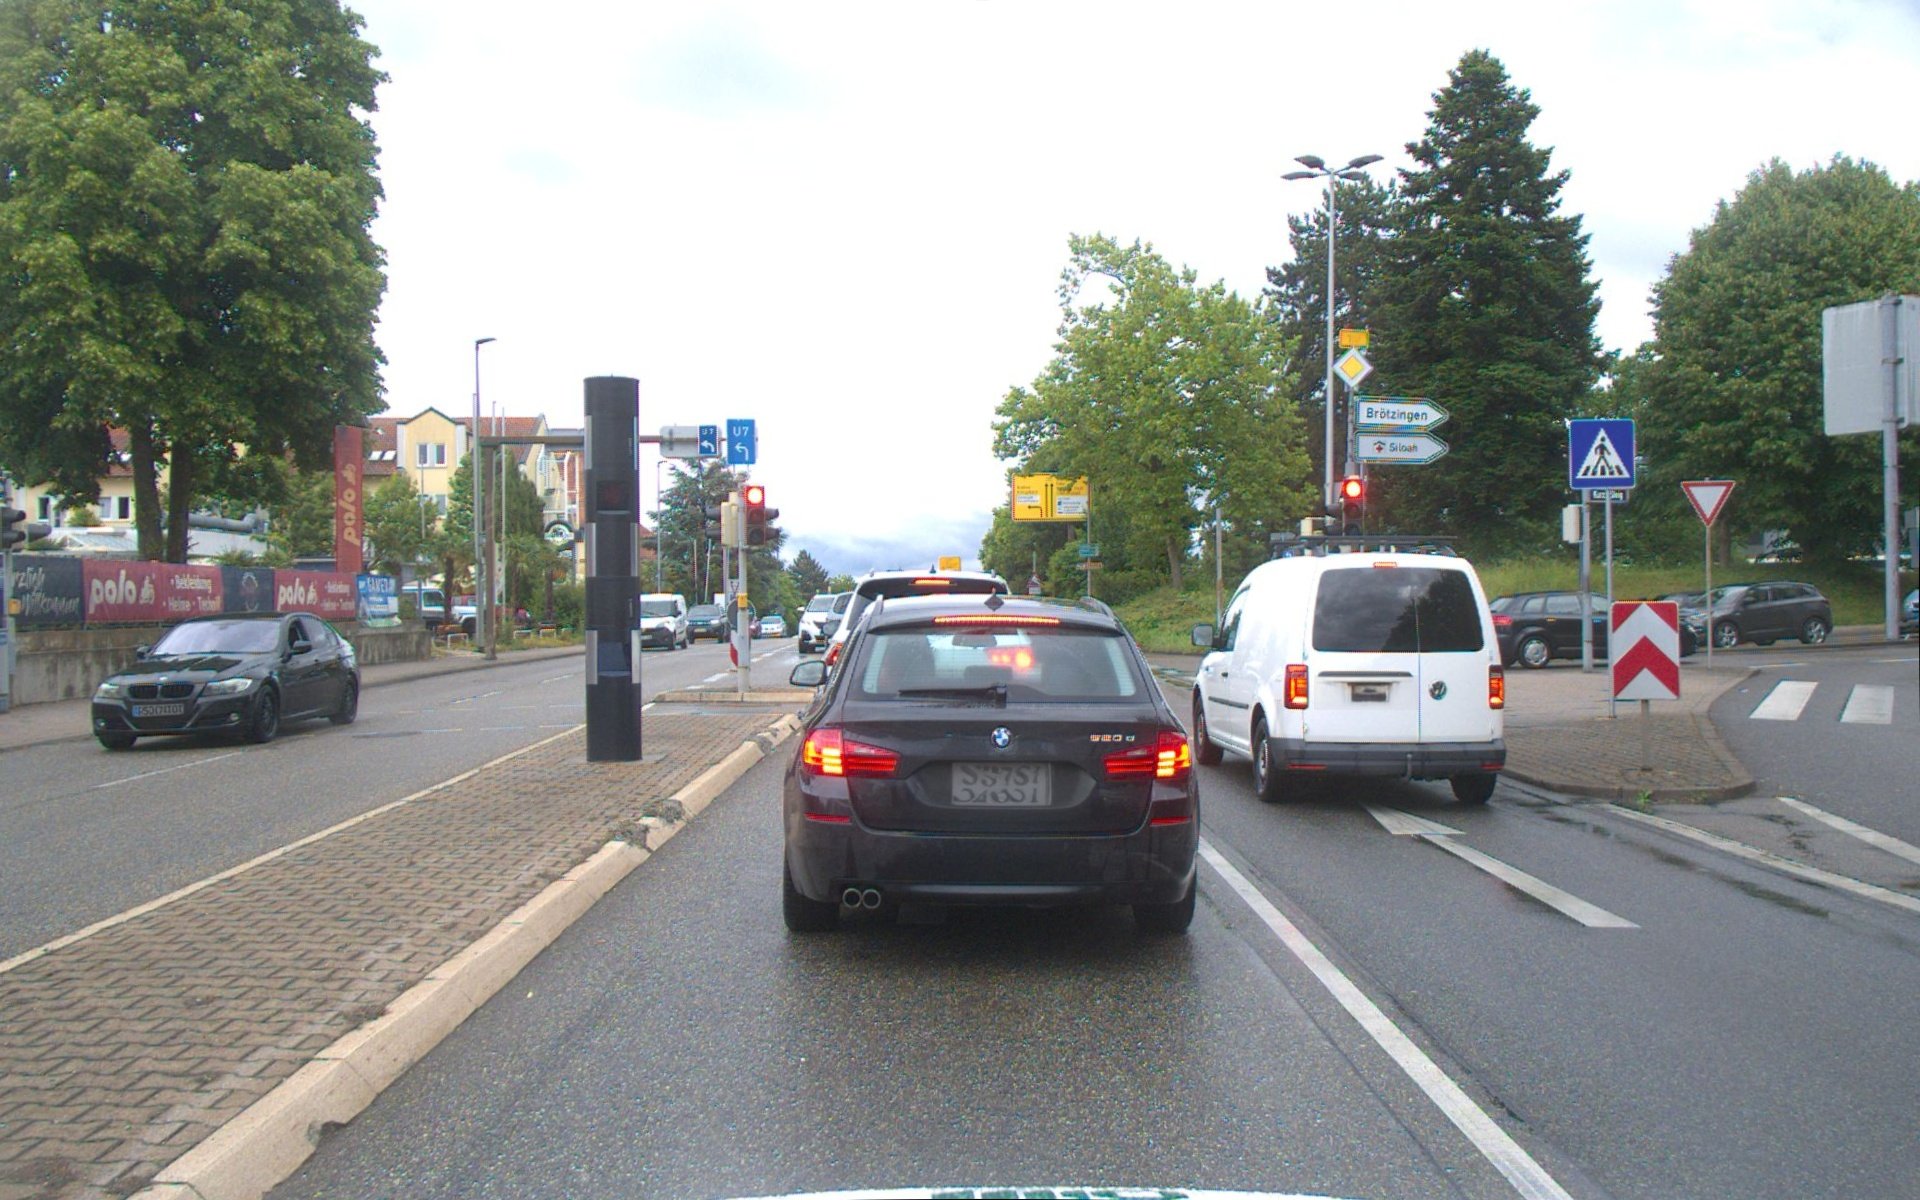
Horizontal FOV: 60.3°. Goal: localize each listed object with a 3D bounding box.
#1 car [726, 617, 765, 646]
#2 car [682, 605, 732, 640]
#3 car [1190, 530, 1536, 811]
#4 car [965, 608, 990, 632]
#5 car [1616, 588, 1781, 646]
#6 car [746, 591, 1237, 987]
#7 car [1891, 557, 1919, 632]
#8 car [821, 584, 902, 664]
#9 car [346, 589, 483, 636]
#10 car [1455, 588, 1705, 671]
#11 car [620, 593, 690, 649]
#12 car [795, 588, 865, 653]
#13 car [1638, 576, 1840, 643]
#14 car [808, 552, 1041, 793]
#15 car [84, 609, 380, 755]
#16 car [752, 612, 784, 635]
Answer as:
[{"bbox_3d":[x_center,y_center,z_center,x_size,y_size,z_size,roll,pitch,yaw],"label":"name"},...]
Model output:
[{"bbox_3d":[-11.292,1.657,87.275,1.634,1.377,3.442,-1,1,-1],"label":"car"},{"bbox_3d":[-10.624,0.924,69.691,1.634,1.377,3.442,-1,1,-1],"label":"car"},{"bbox_3d":[3.033,0.477,13.288,1.706,1.902,3.944,1,0,-2],"label":"car"},{"bbox_3d":[1.183,1.345,110.401,1.567,1.395,3.681,-1,2,1],"label":"car"},{"bbox_3d":[19.388,0.427,43.416,3.926,1.316,1.600,-2,1,-19],"label":"car"},{"bbox_3d":[0.185,0.694,8.163,1.816,1.444,3.958,1,0,2],"label":"car"},{"bbox_3d":[26.592,-0.170,43.058,4.672,1.883,1.884,-1,2,-28],"label":"car"},{"bbox_3d":[-2.243,0.528,38.393,1.699,1.721,3.999,-1,0,-1],"label":"car"},{"bbox_3d":[-18.330,0.389,55.611,4.146,1.481,1.784,-1,1,-28],"label":"car"},{"bbox_3d":[11.612,0.528,31.162,4.001,1.481,1.900,0,1,-2],"label":"car"},{"bbox_3d":[-9.924,0.656,54.043,1.634,1.699,3.682,-1,1,-1],"label":"car"},{"bbox_3d":[-3.627,0.563,46.691,1.699,1.721,3.999,-1,0,-1],"label":"car"},{"bbox_3d":[18.907,0.202,40.207,4.245,1.492,1.893,-1,1,-15],"label":"car"},{"bbox_3d":[-0.178,0.512,13.802,1.692,1.741,3.384,1,1,3],"label":"car"},{"bbox_3d":[-8.165,0.850,18.960,1.634,1.406,4.071,-1,1,-1],"label":"car"},{"bbox_3d":[-12.170,1.474,104.932,1.634,1.377,3.442,-1,1,-1],"label":"car"}]
